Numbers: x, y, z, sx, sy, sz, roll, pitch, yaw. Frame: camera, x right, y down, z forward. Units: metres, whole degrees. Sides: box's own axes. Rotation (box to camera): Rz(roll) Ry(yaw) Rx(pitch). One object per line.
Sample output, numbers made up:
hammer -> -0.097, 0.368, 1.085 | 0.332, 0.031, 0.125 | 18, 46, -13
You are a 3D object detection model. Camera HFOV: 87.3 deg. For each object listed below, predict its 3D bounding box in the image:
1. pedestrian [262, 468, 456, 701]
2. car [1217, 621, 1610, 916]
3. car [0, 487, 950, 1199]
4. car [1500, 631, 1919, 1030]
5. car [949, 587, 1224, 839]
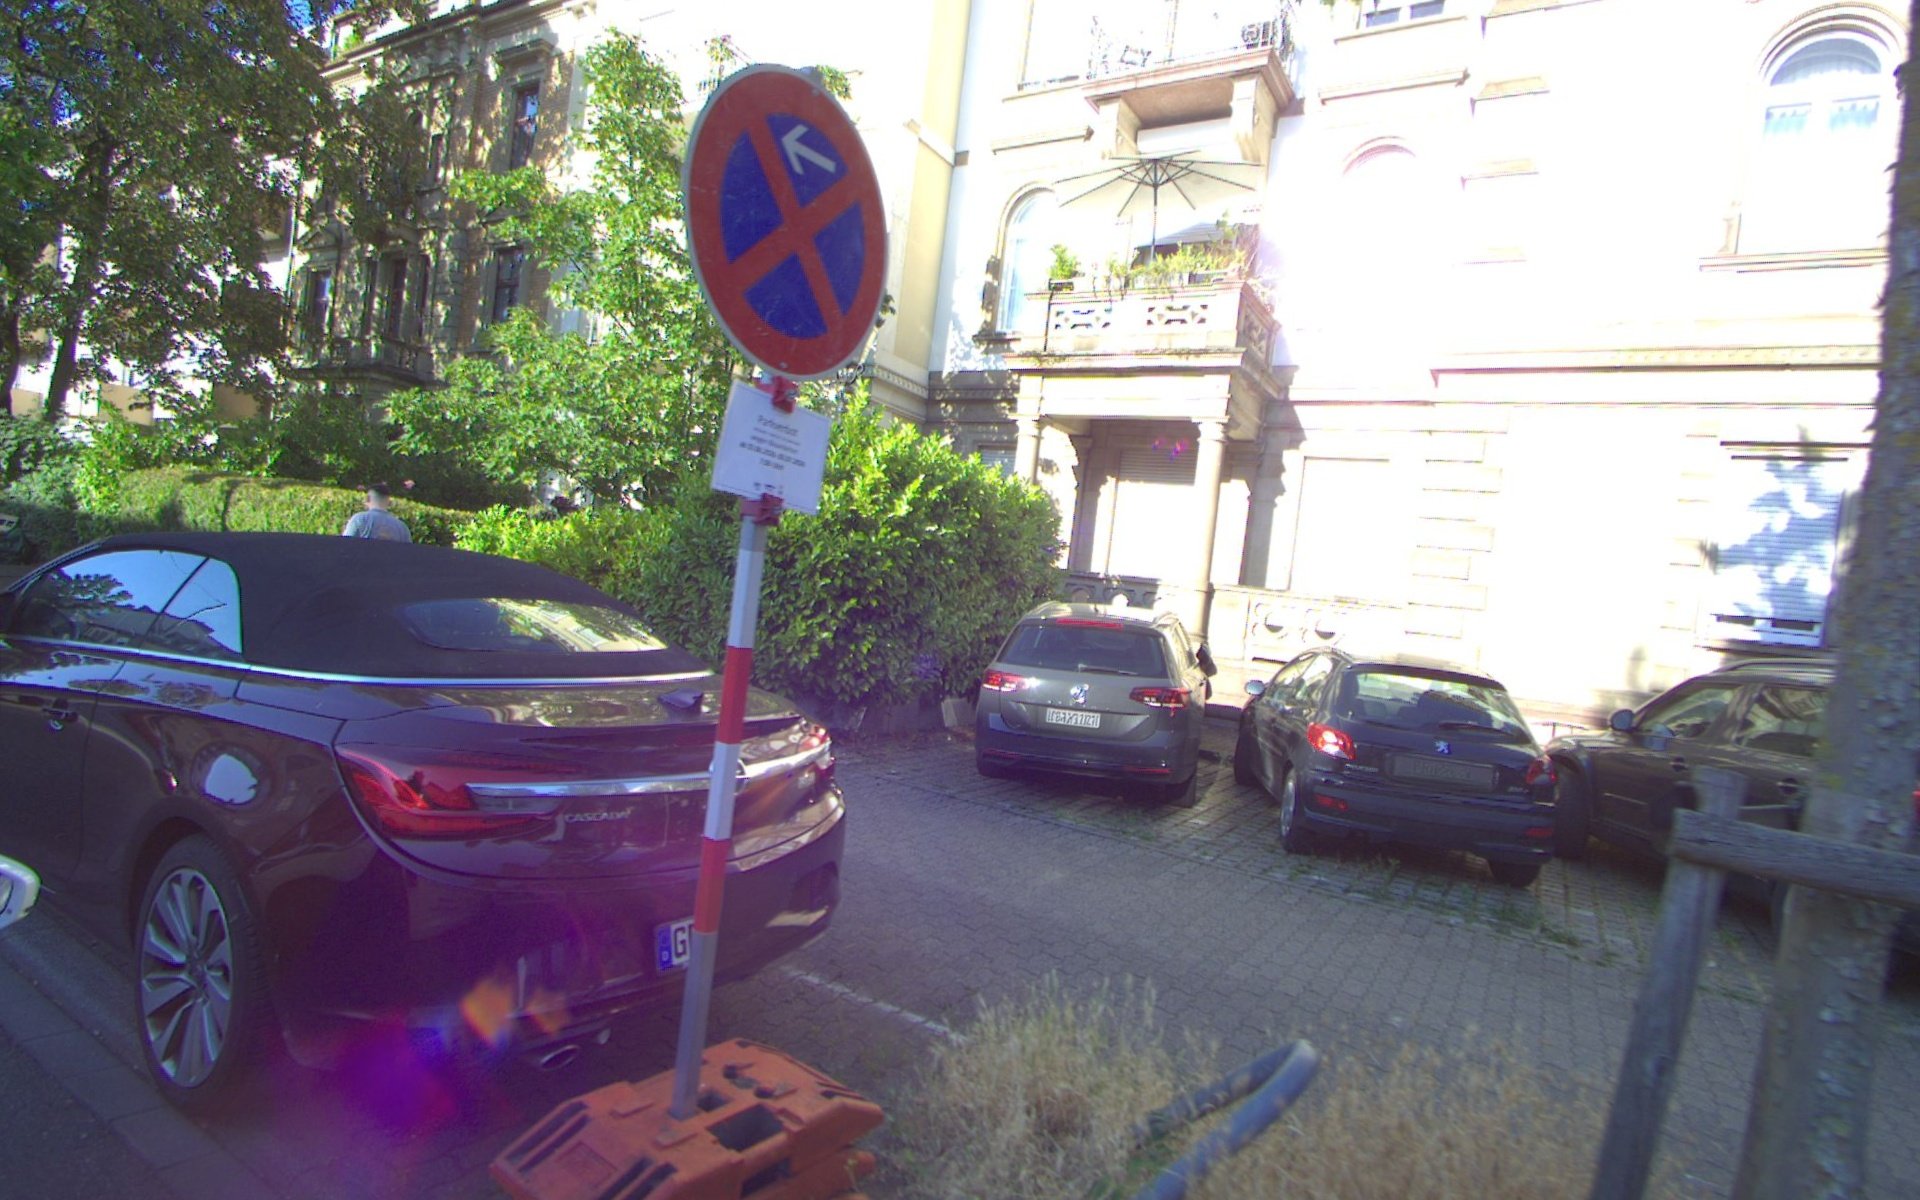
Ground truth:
pedestrian -> -5.075, -0.125, 8.507 | 1.070, 1.796, 0.822 | 7, 1, 28
car -> 3.238, 1.048, 8.121 | 1.684, 1.460, 4.099 | 7, 1, 9
car -> -2.476, 0.431, 3.903 | 4.538, 1.439, 1.758 | 7, 2, 31
car -> 5.440, 1.221, 6.375 | 1.754, 1.721, 4.099 | 7, 1, 2
car -> 1.285, 0.782, 9.154 | 1.757, 1.530, 4.250 | 7, 1, 11
